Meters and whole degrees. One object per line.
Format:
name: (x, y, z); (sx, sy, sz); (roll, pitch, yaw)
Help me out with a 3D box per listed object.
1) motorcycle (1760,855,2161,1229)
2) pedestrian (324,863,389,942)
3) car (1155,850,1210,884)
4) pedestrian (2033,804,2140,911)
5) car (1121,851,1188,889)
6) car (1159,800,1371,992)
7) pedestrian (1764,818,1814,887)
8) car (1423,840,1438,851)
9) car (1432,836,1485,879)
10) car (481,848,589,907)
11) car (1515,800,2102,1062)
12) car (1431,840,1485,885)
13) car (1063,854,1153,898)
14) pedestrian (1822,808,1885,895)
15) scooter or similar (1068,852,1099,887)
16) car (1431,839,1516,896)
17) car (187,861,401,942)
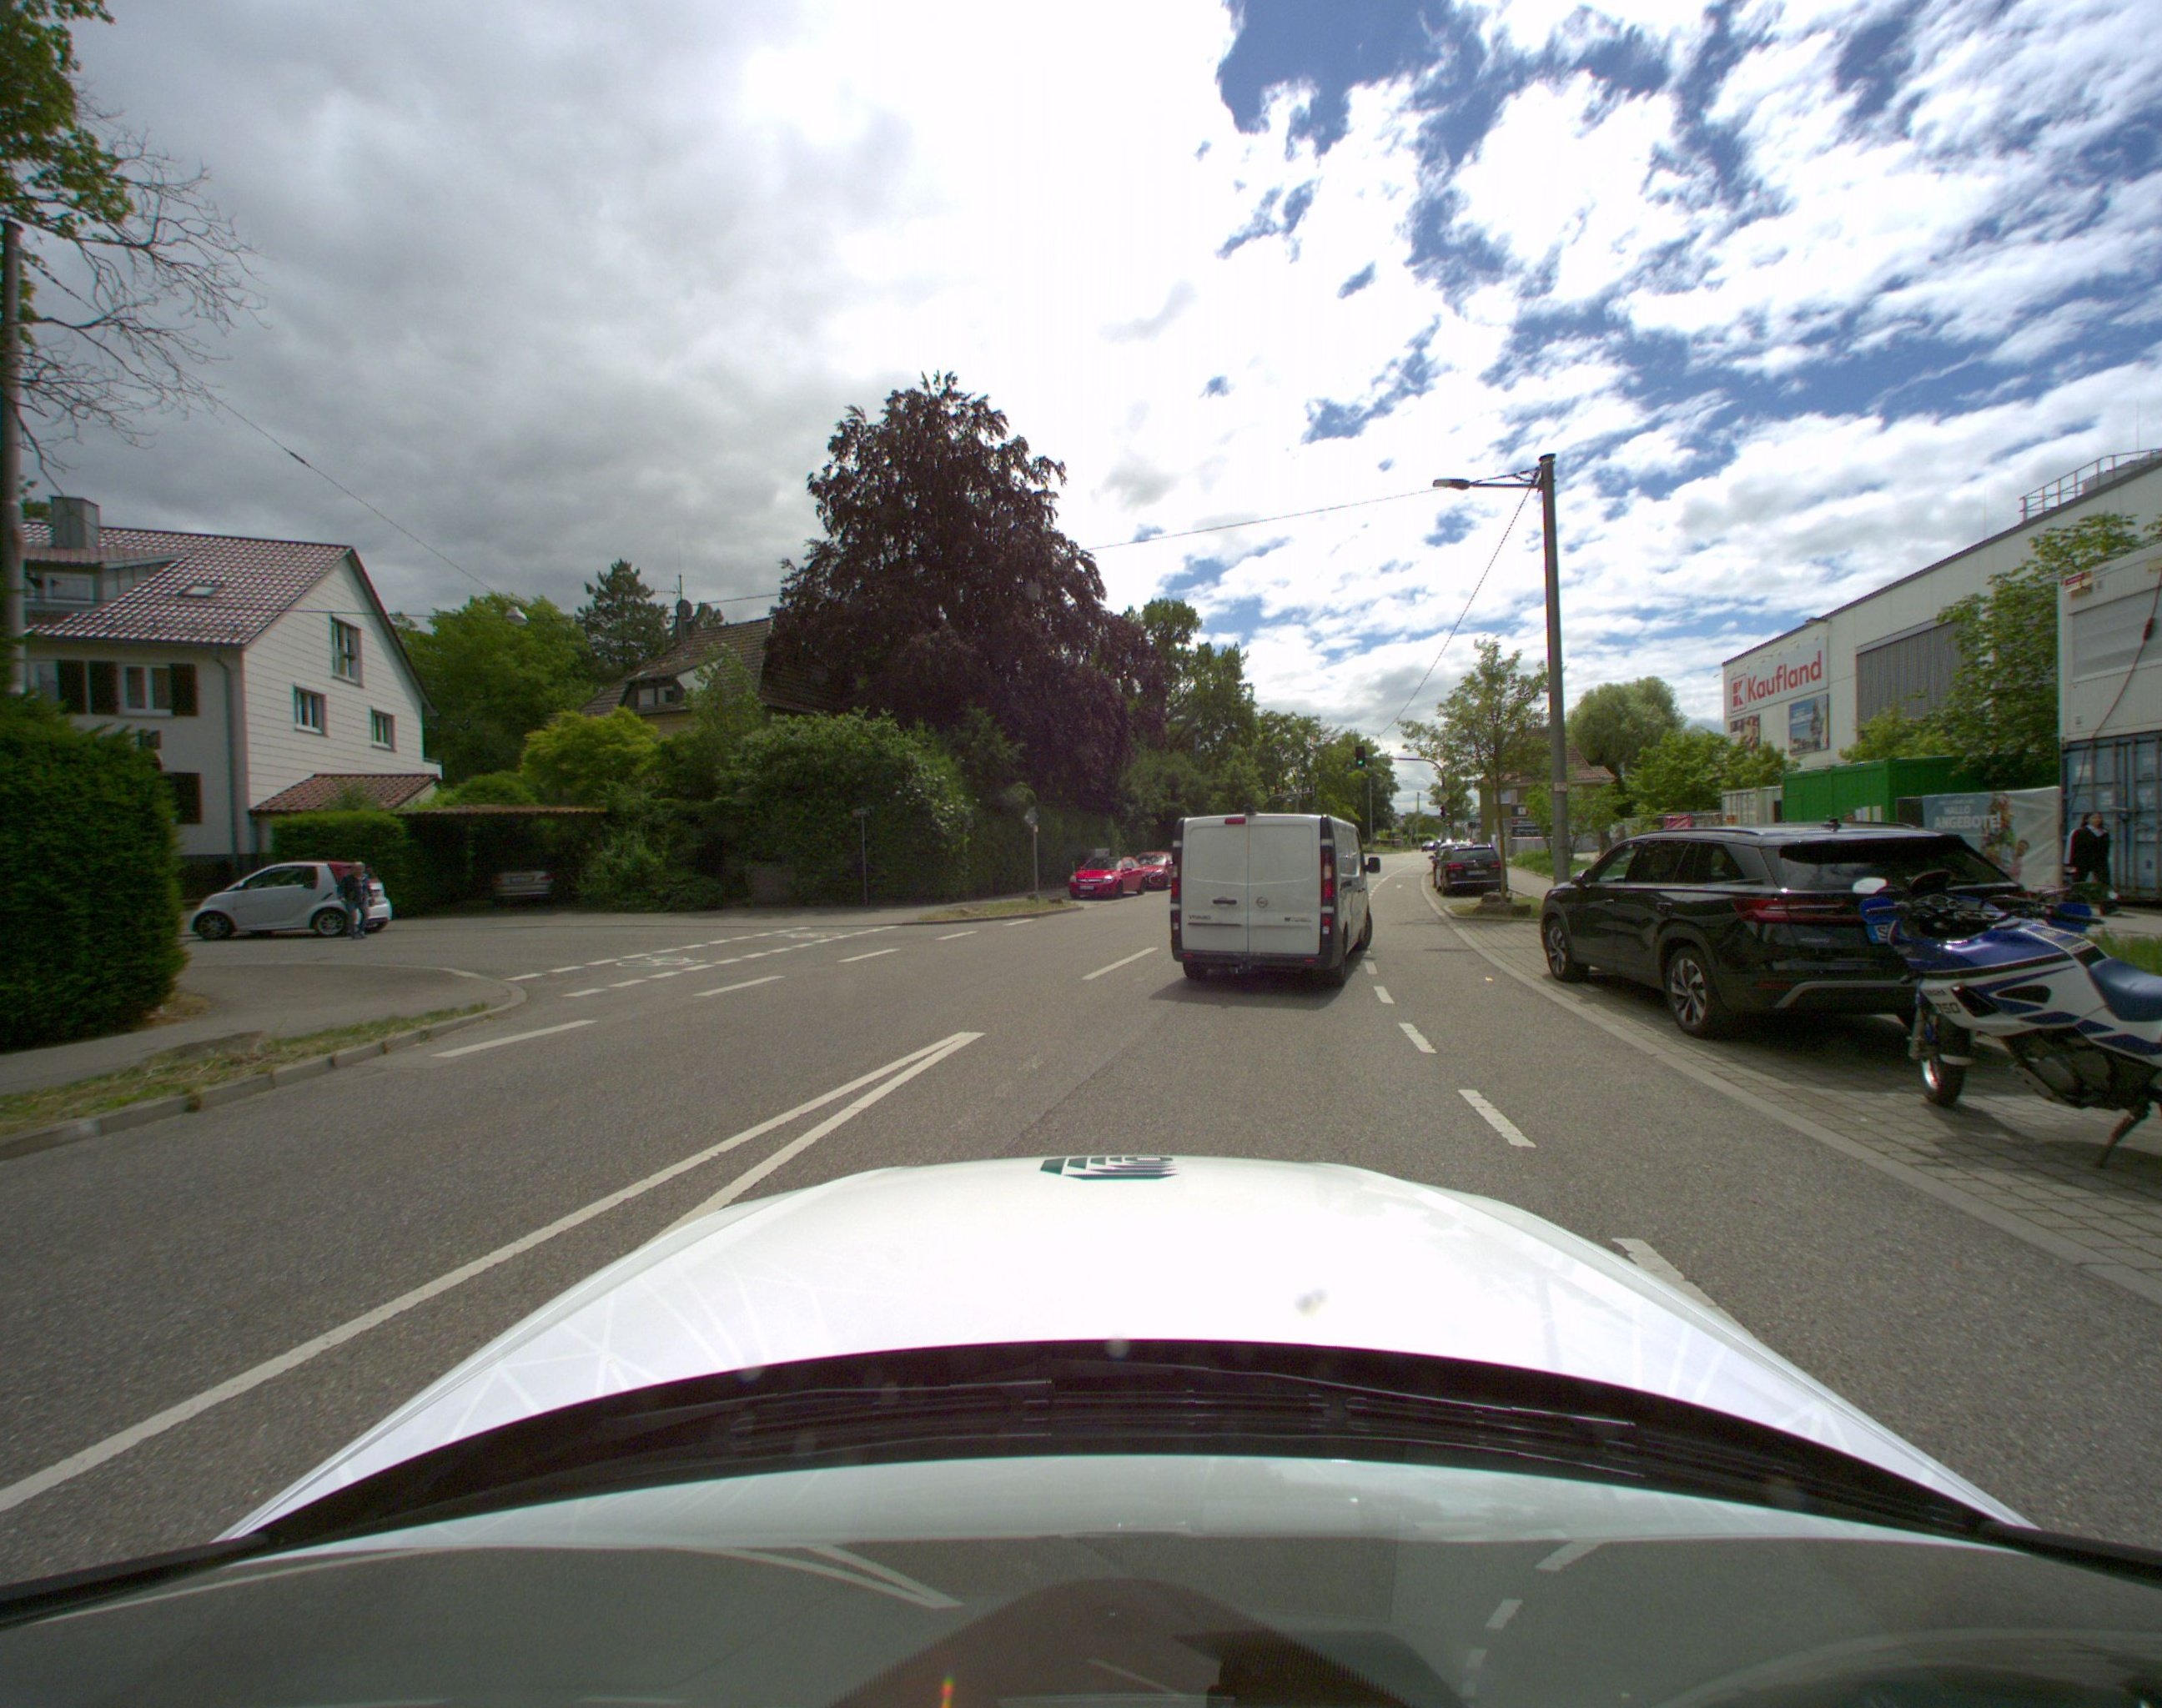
motorcycle: (4.700, 0.705, 3.980); (1.064, 1.305, 2.267); (-4, 0, 10)
pedestrian: (-14.251, 0.939, 16.042); (0.730, 1.508, 0.624); (-1, 0, -15)
car: (4.763, 0.564, 37.937); (1.581, 1.450, 3.616); (0, 0, 23)
pedestrian: (15.702, 0.056, 12.748); (0.736, 1.618, 0.771); (-1, 0, 19)
car: (3.068, 0.607, 33.342); (1.635, 1.450, 4.127); (0, 0, 21)
car: (2.708, 0.389, 10.897); (1.922, 1.960, 4.860); (1, 1, 23)
pedestrian: (17.754, -0.043, 20.438); (0.646, 1.697, 0.849); (-1, 0, 19)
car: (51.180, -1.258, 119.298); (1.817, 1.616, 4.175); (-2, 0, 23)
car: (16.139, 0.135, 34.974); (1.722, 1.616, 4.410); (-4, -1, 22)
car: (-15.654, 0.595, 23.558); (1.729, 1.509, 3.972); (-1, 1, -21)
car: (5.869, 0.506, 7.609); (1.866, 1.621, 4.863); (-3, 0, 12)
car: (13.751, 0.280, 29.840); (1.554, 1.493, 4.022); (-3, 0, 22)
car: (1.054, 0.706, 28.402); (1.646, 1.378, 4.591); (0, 0, 22)
pedestrian: (15.460, -0.053, 16.307); (0.645, 1.696, 0.728); (-1, 0, 19)
scooter or similar: (0.109, 0.630, 34.109); (0.664, 1.412, 1.658); (-1, 1, 23)
car: (11.963, 0.363, 25.112); (1.750, 1.477, 4.960); (-4, -1, 20)
car: (-16.304, 0.936, 17.021); (2.775, 1.555, 1.581); (0, 0, -16)
